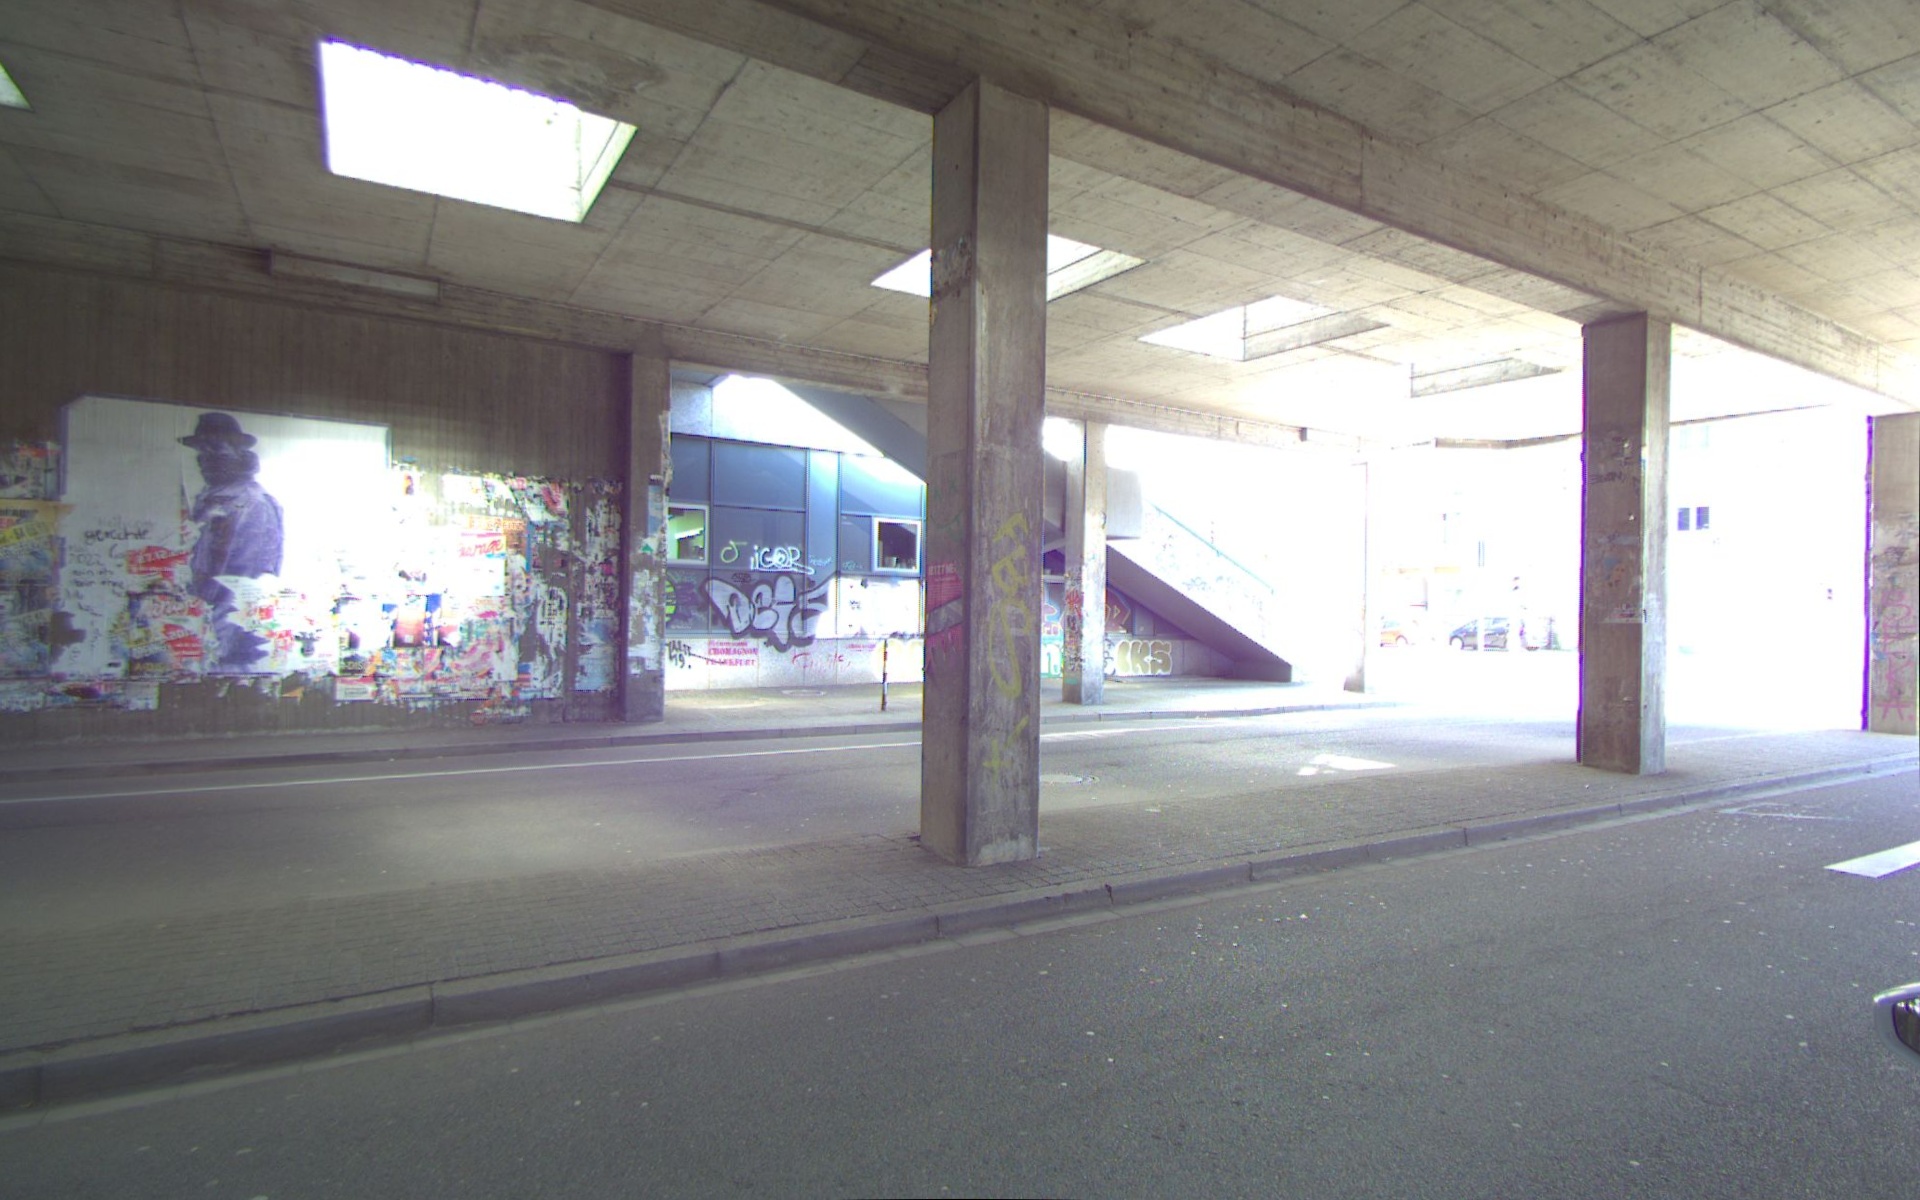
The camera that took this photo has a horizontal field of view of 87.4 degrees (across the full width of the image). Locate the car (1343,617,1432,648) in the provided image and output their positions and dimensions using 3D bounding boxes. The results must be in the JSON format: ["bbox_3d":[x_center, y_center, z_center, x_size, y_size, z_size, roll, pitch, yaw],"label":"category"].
[{"bbox_3d":[22.440,1.695,52.833,1.905,1.428,3.965,2,0,-32],"label":"car"}]

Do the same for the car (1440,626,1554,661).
[{"bbox_3d":[25.397,2.053,47.644,1.905,1.428,4.382,2,0,-32],"label":"car"}]

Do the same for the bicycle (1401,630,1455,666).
[{"bbox_3d":[16.025,1.641,34.422,0.470,1.133,1.734,2,0,-26],"label":"bicycle"}]
